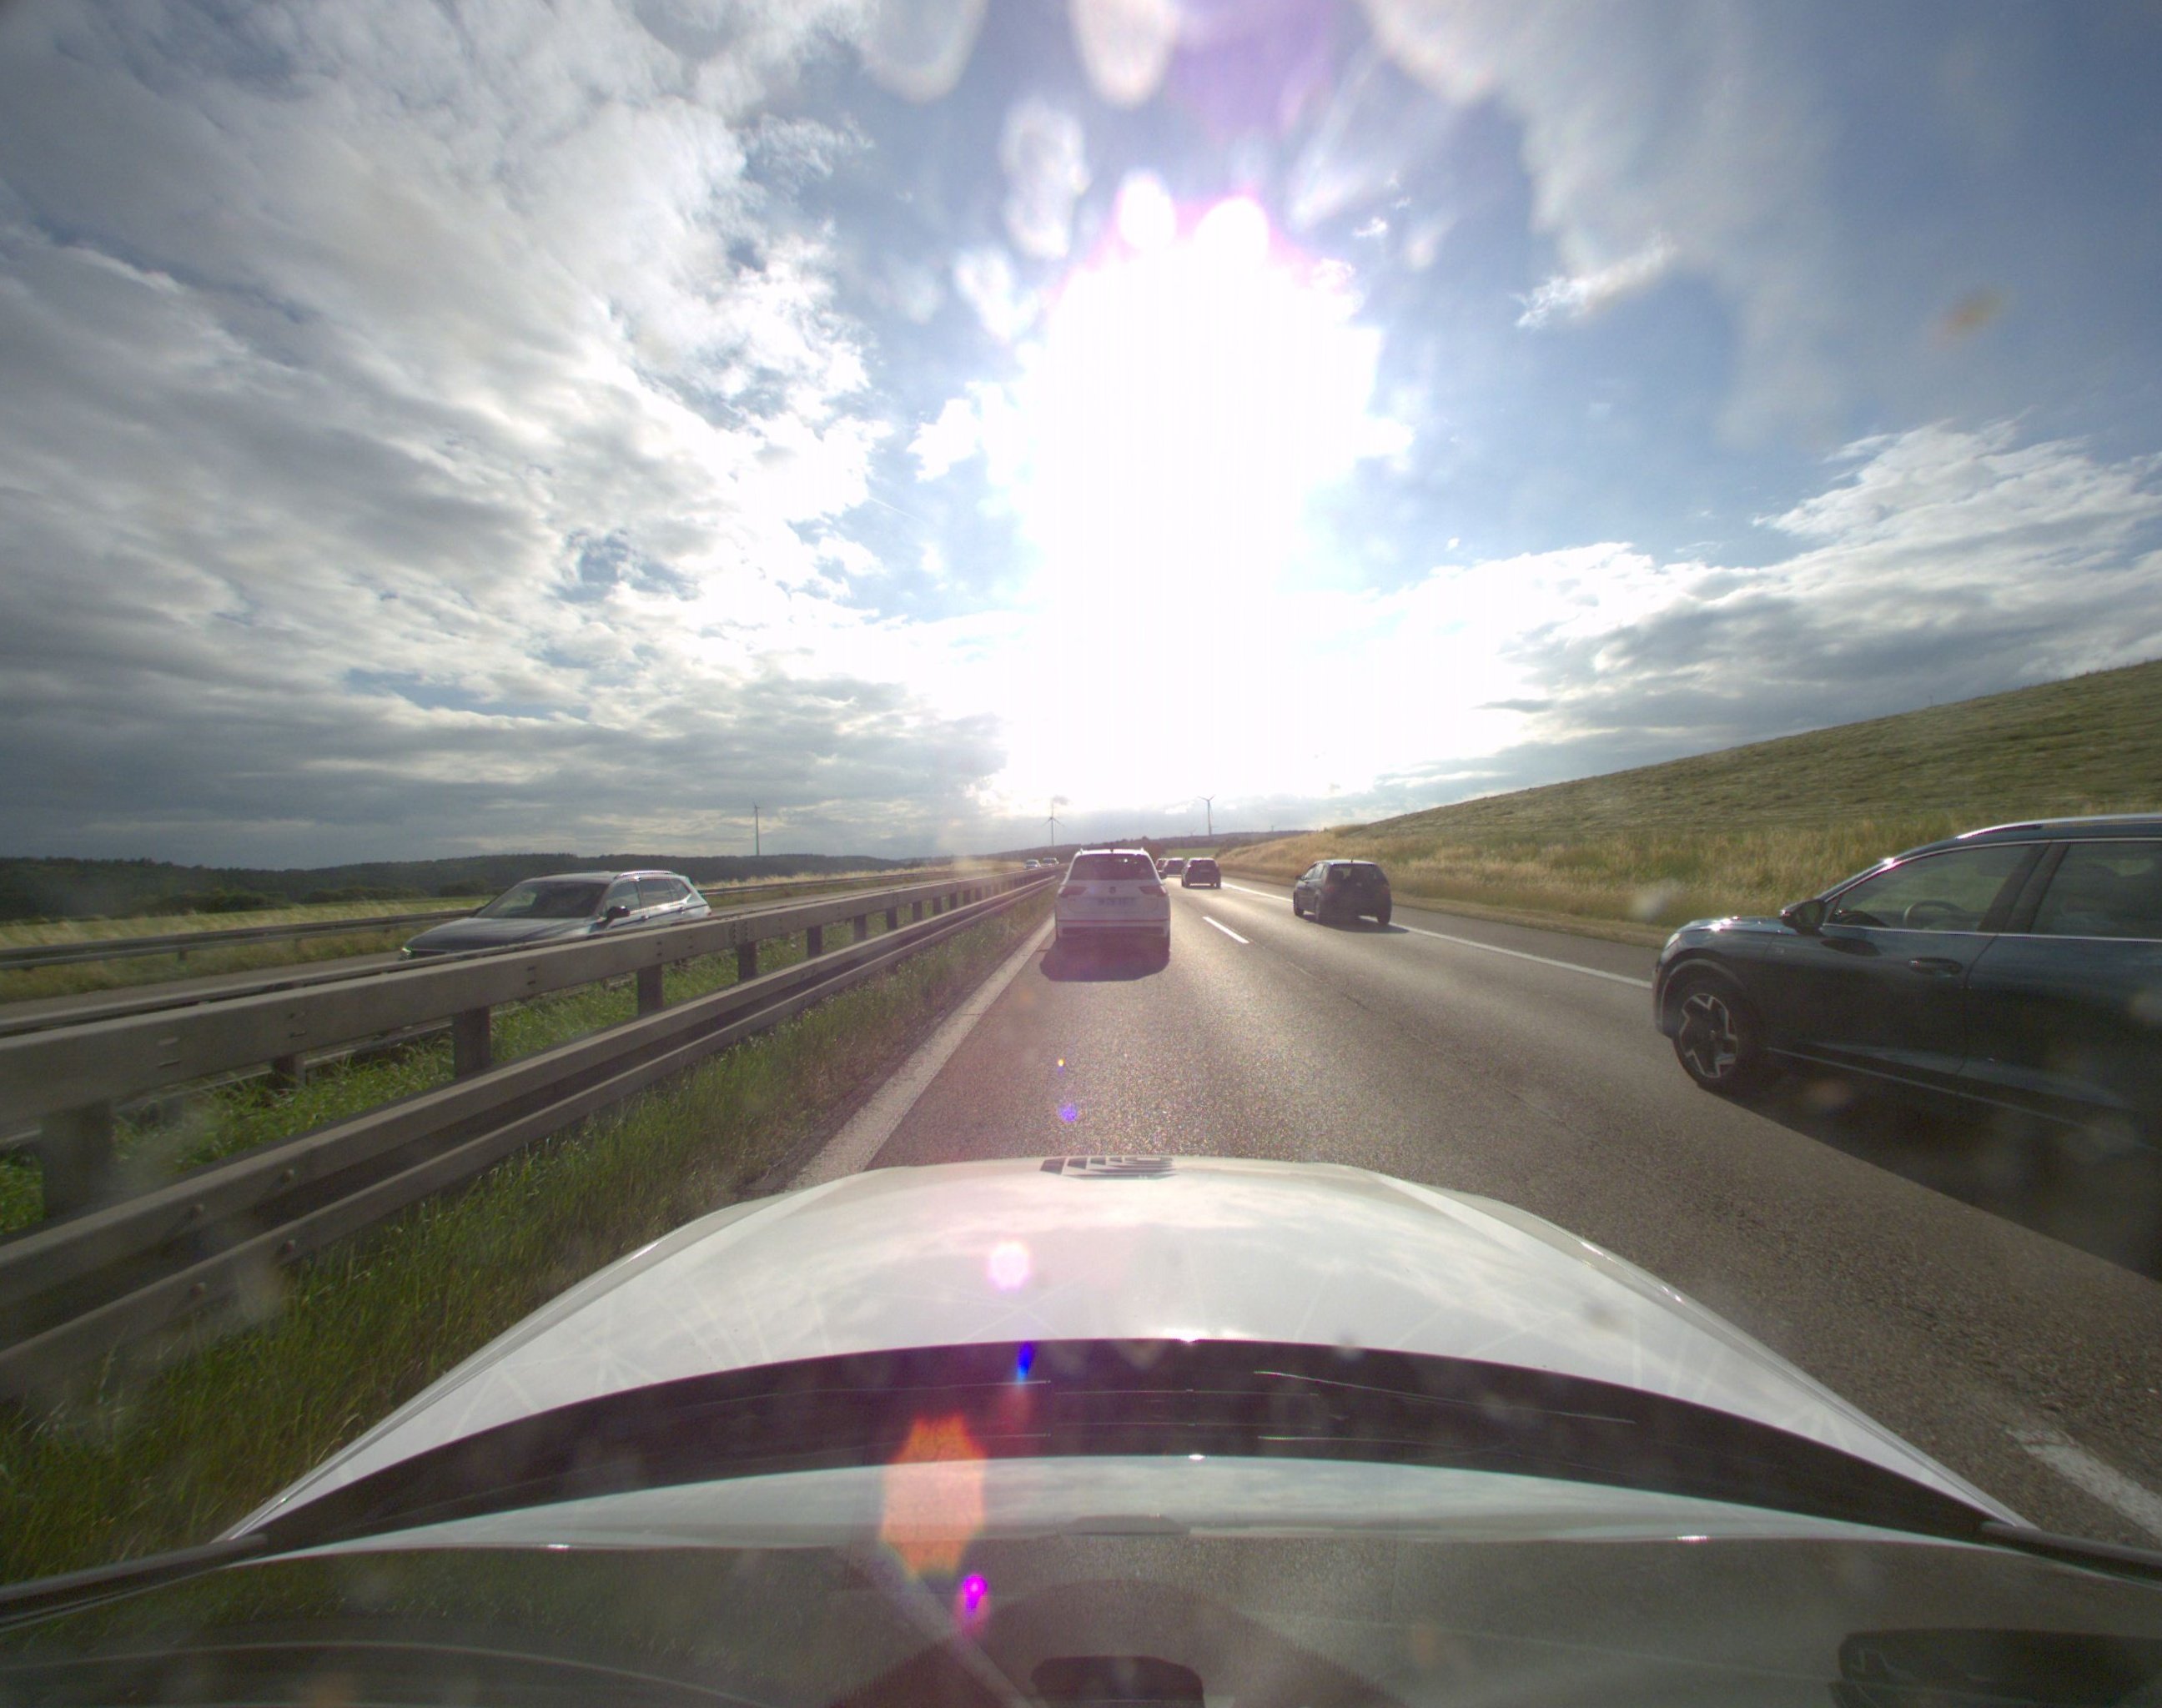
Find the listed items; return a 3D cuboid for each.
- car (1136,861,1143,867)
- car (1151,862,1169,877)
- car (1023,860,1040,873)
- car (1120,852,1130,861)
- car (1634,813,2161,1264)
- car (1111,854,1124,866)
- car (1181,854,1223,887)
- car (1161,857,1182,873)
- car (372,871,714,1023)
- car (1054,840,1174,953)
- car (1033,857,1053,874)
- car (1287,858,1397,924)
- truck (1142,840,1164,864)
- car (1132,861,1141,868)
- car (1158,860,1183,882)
[{"bbox_3d":[15.351,2.657,213.155,1.696,1.546,4.004,-1,-1,4],"label":"car"},{"bbox_3d":[8.599,1.646,88.968,1.697,1.546,4.002,-1,-1,2],"label":"car"},{"bbox_3d":[-6.184,1.607,102.631,1.728,1.588,4.118,-1,-1,2],"label":"car"},{"bbox_3d":[7.750,0.406,144.471,1.697,1.546,4.002,-1,-1,2],"label":"car"},{"bbox_3d":[4.775,0.656,3.678,1.814,1.601,4.237,-1,-1,3],"label":"car"},{"bbox_3d":[5.150,0.881,114.655,1.697,1.650,4.002,-1,-1,2],"label":"car"},{"bbox_3d":[6.072,0.810,41.224,1.697,1.546,4.002,-1,-1,2],"label":"car"},{"bbox_3d":[8.713,1.066,78.677,1.697,1.546,4.002,-1,-1,2],"label":"car"},{"bbox_3d":[-6.856,1.064,11.060,1.743,1.603,4.266,-1,-1,1],"label":"car"},{"bbox_3d":[0.566,0.659,14.148,1.763,1.676,4.002,-1,-1,2],"label":"car"},{"bbox_3d":[-4.166,1.225,88.975,1.816,1.770,4.365,-1,-1,2],"label":"car"},{"bbox_3d":[6.139,0.817,19.544,1.599,1.420,3.674,-1,-1,3],"label":"car"},{"bbox_3d":[11.608,-0.309,132.110,3.170,3.594,11.142,-1,0,4],"label":"truck"},{"bbox_3d":[12.480,2.367,183.247,1.695,1.546,4.006,-1,-1,6],"label":"car"},{"bbox_3d":[6.968,1.293,63.729,1.697,1.650,4.002,-1,-1,2],"label":"car"}]
